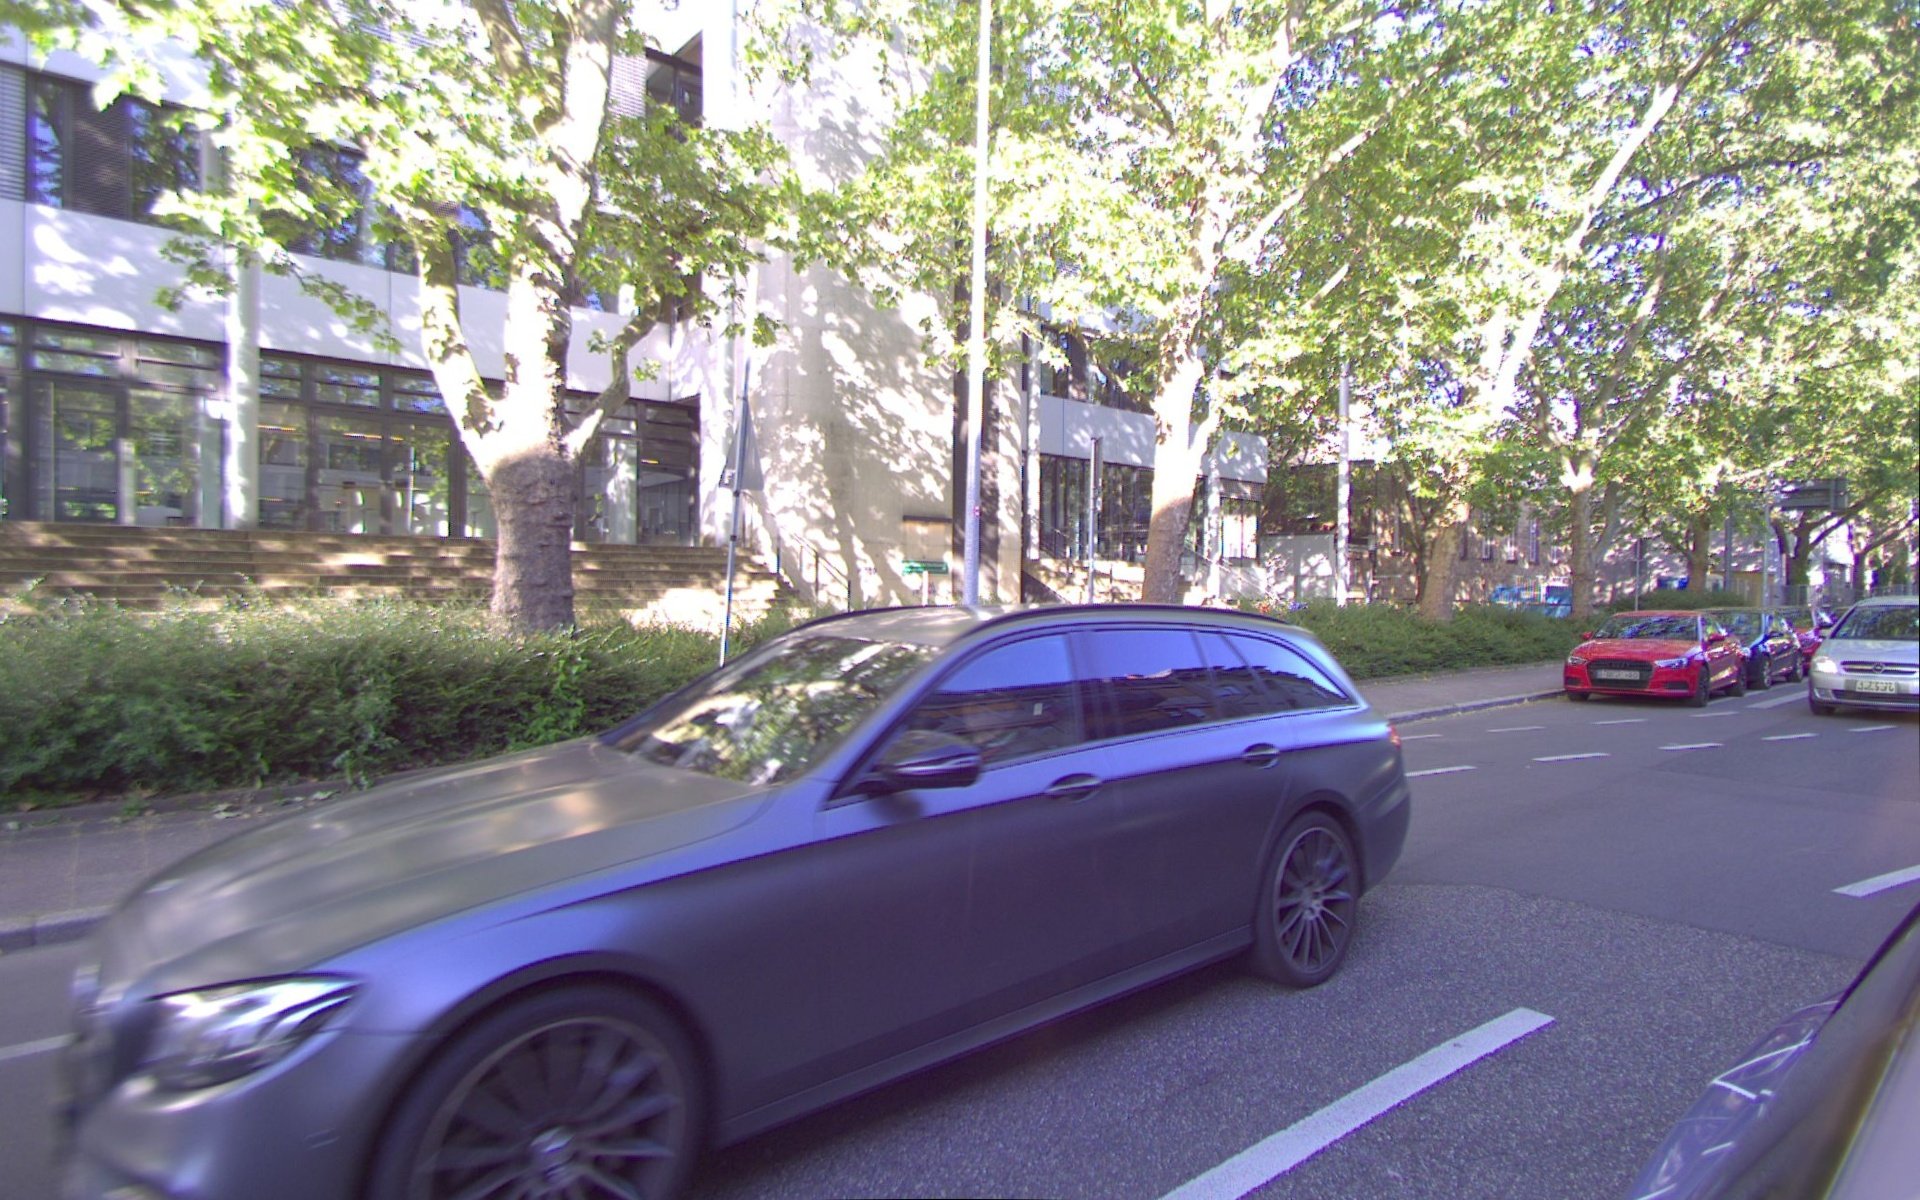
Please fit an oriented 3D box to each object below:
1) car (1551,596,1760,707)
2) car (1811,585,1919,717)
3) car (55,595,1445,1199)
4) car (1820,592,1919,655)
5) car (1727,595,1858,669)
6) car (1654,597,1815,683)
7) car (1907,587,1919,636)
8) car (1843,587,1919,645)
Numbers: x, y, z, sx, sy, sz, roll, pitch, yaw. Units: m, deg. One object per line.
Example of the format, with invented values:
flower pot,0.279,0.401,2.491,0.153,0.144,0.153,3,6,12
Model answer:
car,11.189,0.735,16.178,4.071,1.548,1.827,0,-1,-42
car,13.257,0.620,13.761,3.787,1.623,1.707,0,1,-36
car,-0.241,0.746,3.799,4.585,1.483,1.917,0,-1,-39
car,25.970,0.618,28.828,4.022,1.653,1.739,0,1,-42
car,18.645,0.670,22.608,3.851,1.511,1.679,0,-1,-42
car,15.023,0.708,19.554,4.022,1.472,1.739,0,-1,-42
car,37.719,0.440,38.802,3.829,1.818,1.739,0,1,-42
car,29.432,0.466,32.139,3.840,1.708,1.633,0,1,-42
